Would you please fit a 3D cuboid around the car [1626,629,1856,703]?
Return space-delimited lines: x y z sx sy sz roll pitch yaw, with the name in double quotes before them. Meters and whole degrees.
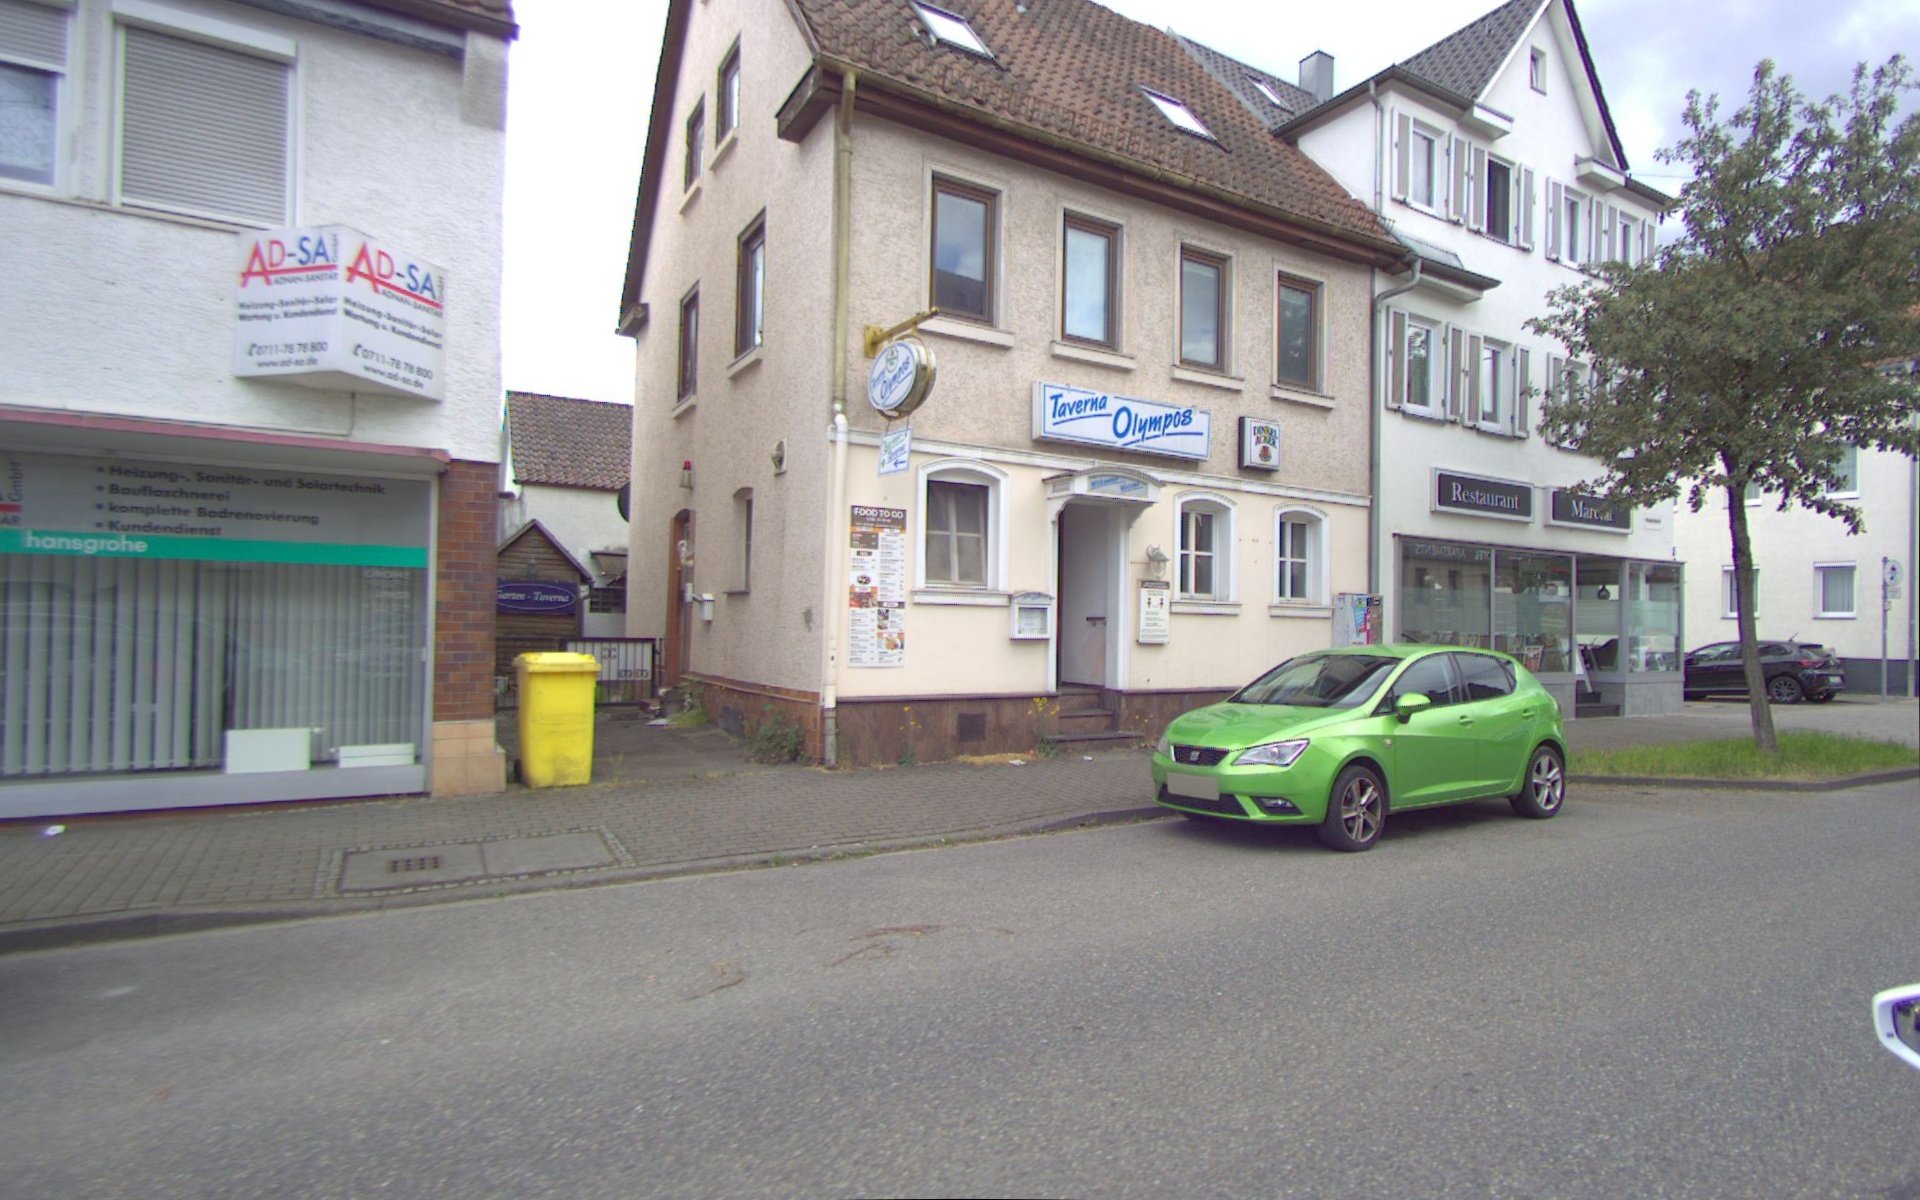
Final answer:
"car" 18.349 1.491 23.781 1.716 1.555 3.966 2 -2 -32

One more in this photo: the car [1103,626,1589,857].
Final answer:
"car" 3.230 0.984 8.204 3.976 1.466 1.673 2 -3 -32

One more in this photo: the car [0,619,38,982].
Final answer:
"car" -5.455 0.781 2.914 3.767 1.527 1.575 2 -3 -30
